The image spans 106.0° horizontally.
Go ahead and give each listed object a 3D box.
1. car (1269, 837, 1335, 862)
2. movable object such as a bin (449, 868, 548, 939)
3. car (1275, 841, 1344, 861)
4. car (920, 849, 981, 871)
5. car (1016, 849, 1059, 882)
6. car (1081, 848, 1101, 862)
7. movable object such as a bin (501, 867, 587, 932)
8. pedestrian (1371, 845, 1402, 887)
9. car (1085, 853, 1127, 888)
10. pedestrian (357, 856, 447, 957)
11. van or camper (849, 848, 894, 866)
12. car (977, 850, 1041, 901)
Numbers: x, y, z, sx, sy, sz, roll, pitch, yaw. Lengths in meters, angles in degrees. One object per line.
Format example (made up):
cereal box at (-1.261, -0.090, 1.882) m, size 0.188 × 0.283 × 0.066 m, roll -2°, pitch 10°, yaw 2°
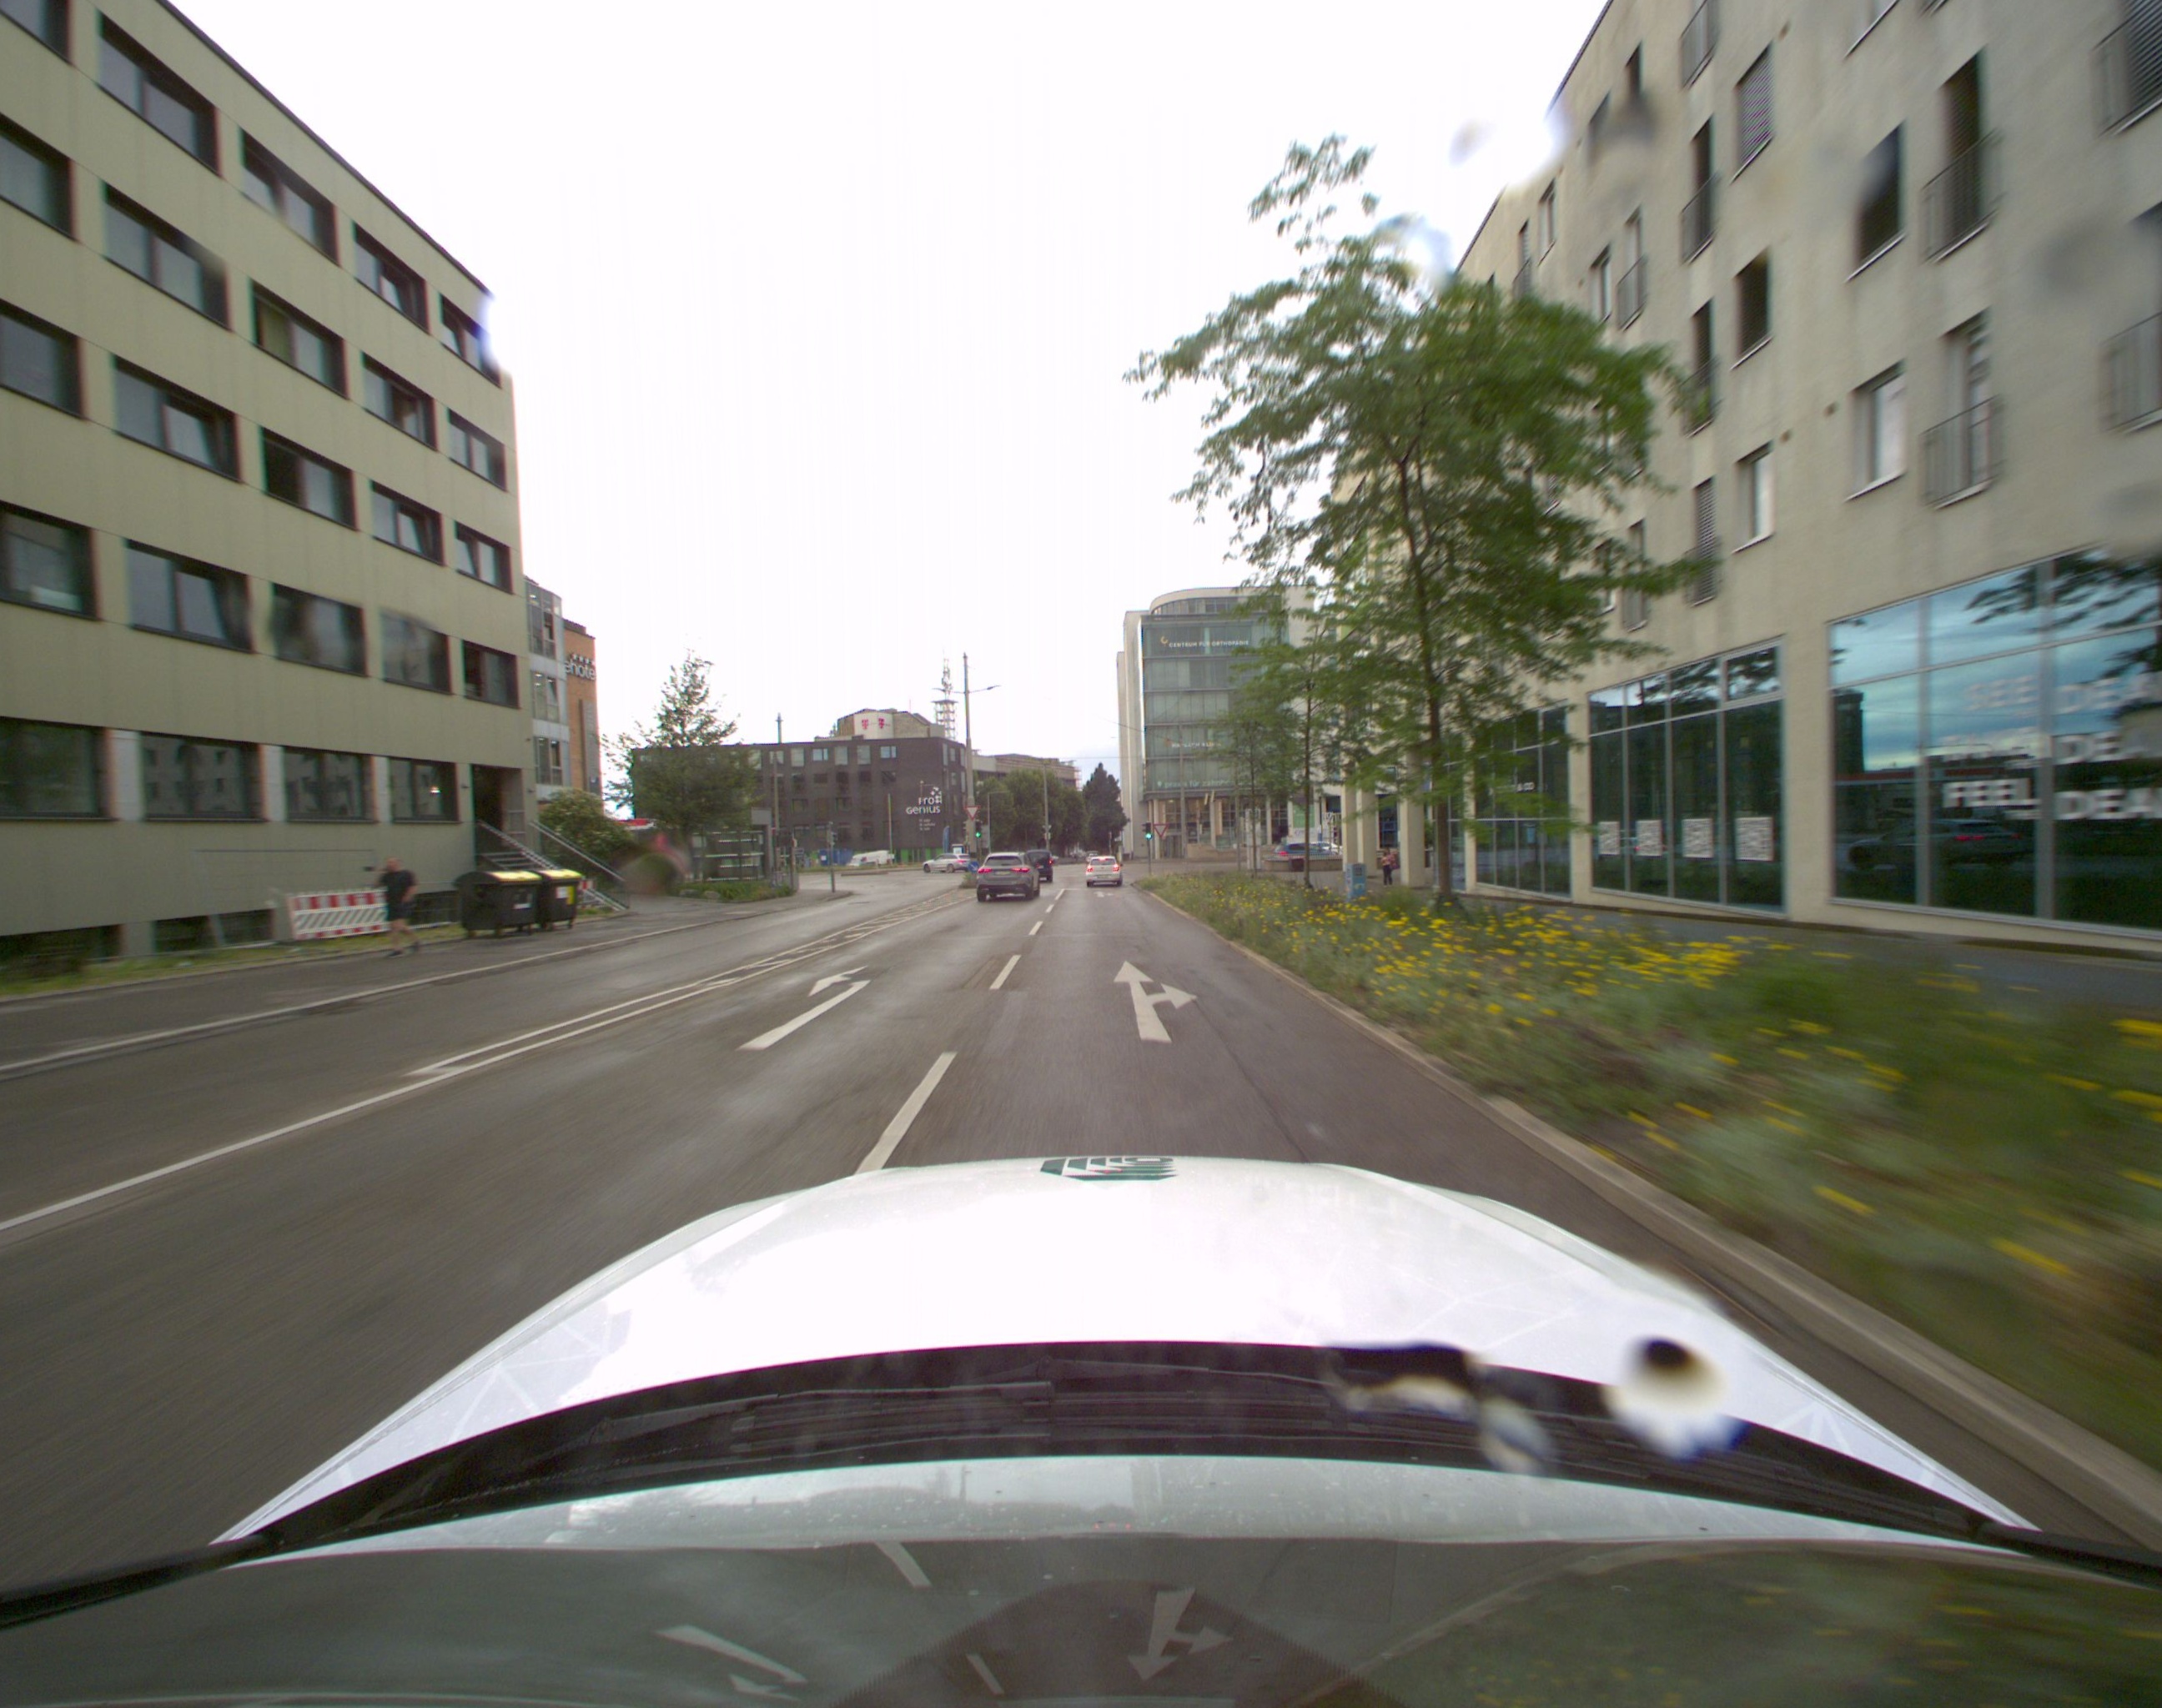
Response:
car at (15.276, -0.305, 56.412) m, size 3.989 × 1.573 × 1.992 m, roll -2°, pitch 2°, yaw -12°
movable object such as a bin at (-12.614, 1.044, 17.683) m, size 1.050 × 1.445 × 1.431 m, roll 1°, pitch -1°, yaw 2°
car at (17.881, -0.248, 63.863) m, size 4.933 × 1.387 × 1.822 m, roll -2°, pitch 1°, yaw -1°
car at (-10.000, 0.447, 62.314) m, size 4.433 × 1.579 × 2.013 m, roll 1°, pitch 0°, yaw 37°
car at (-2.574, 0.626, 47.184) m, size 1.854 × 1.768 × 4.113 m, roll -1°, pitch 0°, yaw -13°
car at (1.294, 0.153, 109.479) m, size 1.993 × 1.717 × 3.987 m, roll 0°, pitch -1°, yaw -9°
movable object such as a bin at (-12.564, 1.038, 19.112) m, size 1.050 × 1.445 × 1.359 m, roll 1°, pitch -1°, yaw 2°
pedestrian at (12.941, 0.480, 34.463) m, size 0.864 × 1.712 × 1.094 m, roll 1°, pitch 1°, yaw 43°
car at (1.276, 0.761, 40.340) m, size 1.661 × 1.473 × 3.789 m, roll -1°, pitch 2°, yaw 8°
pedestrian at (-12.096, 0.913, 14.537) m, size 0.752 × 1.732 × 0.943 m, roll 0°, pitch -1°, yaw 3°
van or camper at (-28.482, 0.456, 110.890) m, size 5.313 × 2.369 × 2.738 m, roll 0°, pitch -1°, yaw -1°
car at (-2.437, 0.705, 28.691) m, size 1.902 × 1.632 × 4.209 m, roll 0°, pitch 0°, yaw 0°
